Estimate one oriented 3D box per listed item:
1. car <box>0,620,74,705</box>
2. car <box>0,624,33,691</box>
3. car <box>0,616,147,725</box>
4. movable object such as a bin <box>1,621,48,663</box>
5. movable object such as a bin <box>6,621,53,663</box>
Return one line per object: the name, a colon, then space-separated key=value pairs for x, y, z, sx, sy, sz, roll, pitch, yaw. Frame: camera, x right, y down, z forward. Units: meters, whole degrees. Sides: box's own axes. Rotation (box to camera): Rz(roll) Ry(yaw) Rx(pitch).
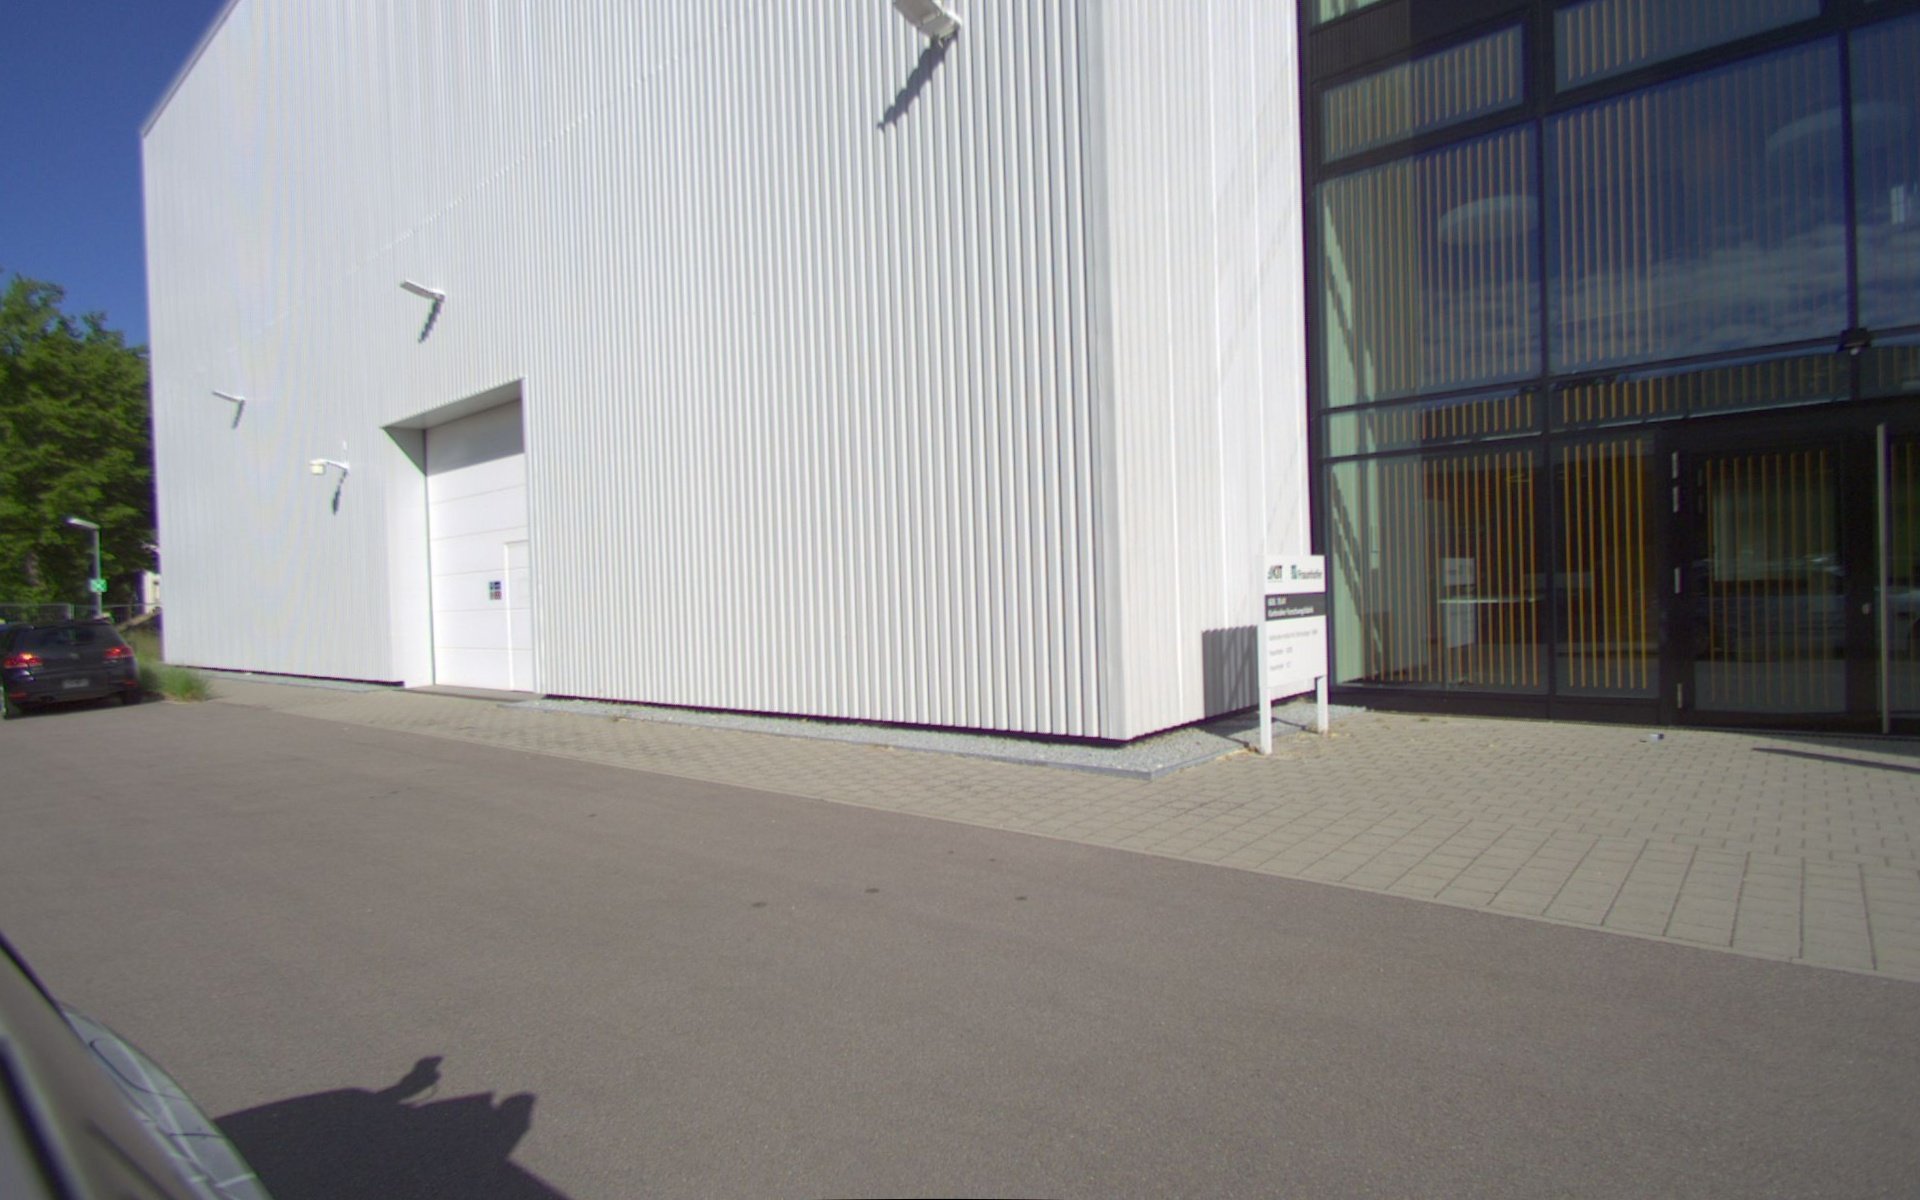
car: x=-18.880 y=1.232 z=19.919 sx=3.518 sy=1.499 sz=1.533 roll=-3 pitch=1 yaw=39
car: x=-23.069 y=1.388 z=23.491 sx=3.794 sy=1.459 sz=1.695 roll=-3 pitch=1 yaw=39
car: x=-15.215 y=1.117 z=16.912 sx=4.312 sy=1.456 sz=1.738 roll=-2 pitch=2 yaw=41
movable object such as a bin: x=-34.117 y=1.535 z=36.909 sx=1.279 sy=1.489 sz=1.126 roll=-3 pitch=-2 yaw=41
movable object such as a bin: x=-33.100 y=1.497 z=36.002 sx=1.288 sy=1.445 sz=1.126 roll=-2 pitch=-2 yaw=41
